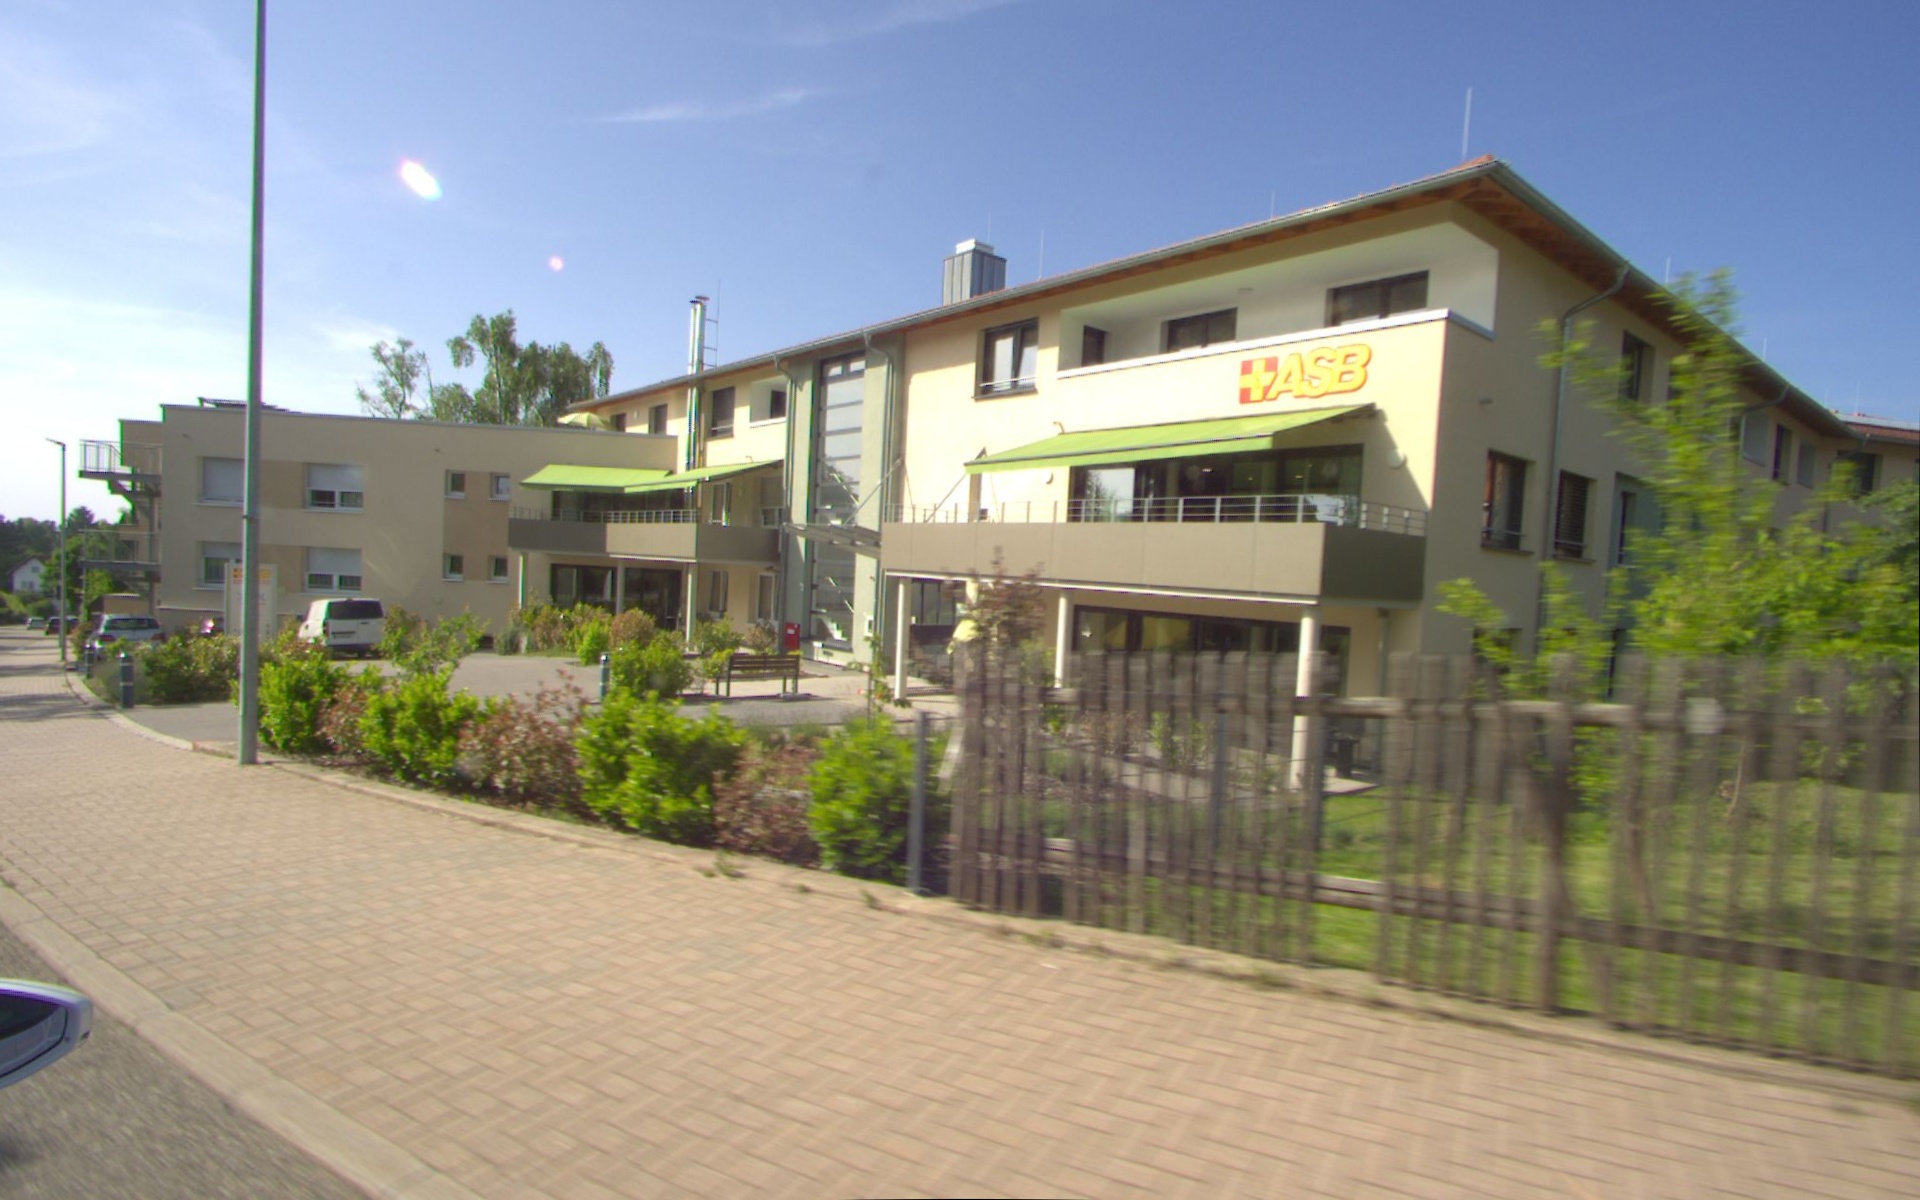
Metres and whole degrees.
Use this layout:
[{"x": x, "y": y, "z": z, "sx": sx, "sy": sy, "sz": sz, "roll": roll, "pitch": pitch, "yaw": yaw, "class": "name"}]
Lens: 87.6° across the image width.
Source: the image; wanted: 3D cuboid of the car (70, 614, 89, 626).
[{"x": -110.929, "y": 2.475, "z": 126.102, "sx": 1.697, "sy": 1.446, "sz": 3.969, "roll": 1, "pitch": -1, "yaw": -43, "class": "car"}]

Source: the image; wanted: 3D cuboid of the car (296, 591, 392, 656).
[{"x": -20.057, "y": 0.751, "z": 32.534, "sx": 1.791, "sy": 1.960, "sz": 4.689, "roll": 1, "pitch": -1, "yaw": -43, "class": "car"}]

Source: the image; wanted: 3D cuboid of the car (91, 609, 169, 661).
[{"x": -26.661, "y": 1.080, "z": 32.128, "sx": 1.697, "sy": 1.555, "sz": 3.969, "roll": 1, "pitch": -1, "yaw": -43, "class": "car"}]

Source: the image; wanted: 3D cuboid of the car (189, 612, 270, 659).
[{"x": -24.086, "y": 1.140, "z": 32.975, "sx": 1.697, "sy": 1.446, "sz": 3.969, "roll": 1, "pitch": -1, "yaw": -43, "class": "car"}]

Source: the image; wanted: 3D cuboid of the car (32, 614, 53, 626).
[{"x": -116.039, "y": 2.564, "z": 126.626, "sx": 1.694, "sy": 1.446, "sz": 3.974, "roll": 1, "pitch": -1, "yaw": -39, "class": "car"}]

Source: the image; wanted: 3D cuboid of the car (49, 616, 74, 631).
[{"x": -83.987, "y": 2.189, "z": 93.590, "sx": 1.697, "sy": 1.446, "sz": 3.969, "roll": 1, "pitch": -1, "yaw": -43, "class": "car"}]
